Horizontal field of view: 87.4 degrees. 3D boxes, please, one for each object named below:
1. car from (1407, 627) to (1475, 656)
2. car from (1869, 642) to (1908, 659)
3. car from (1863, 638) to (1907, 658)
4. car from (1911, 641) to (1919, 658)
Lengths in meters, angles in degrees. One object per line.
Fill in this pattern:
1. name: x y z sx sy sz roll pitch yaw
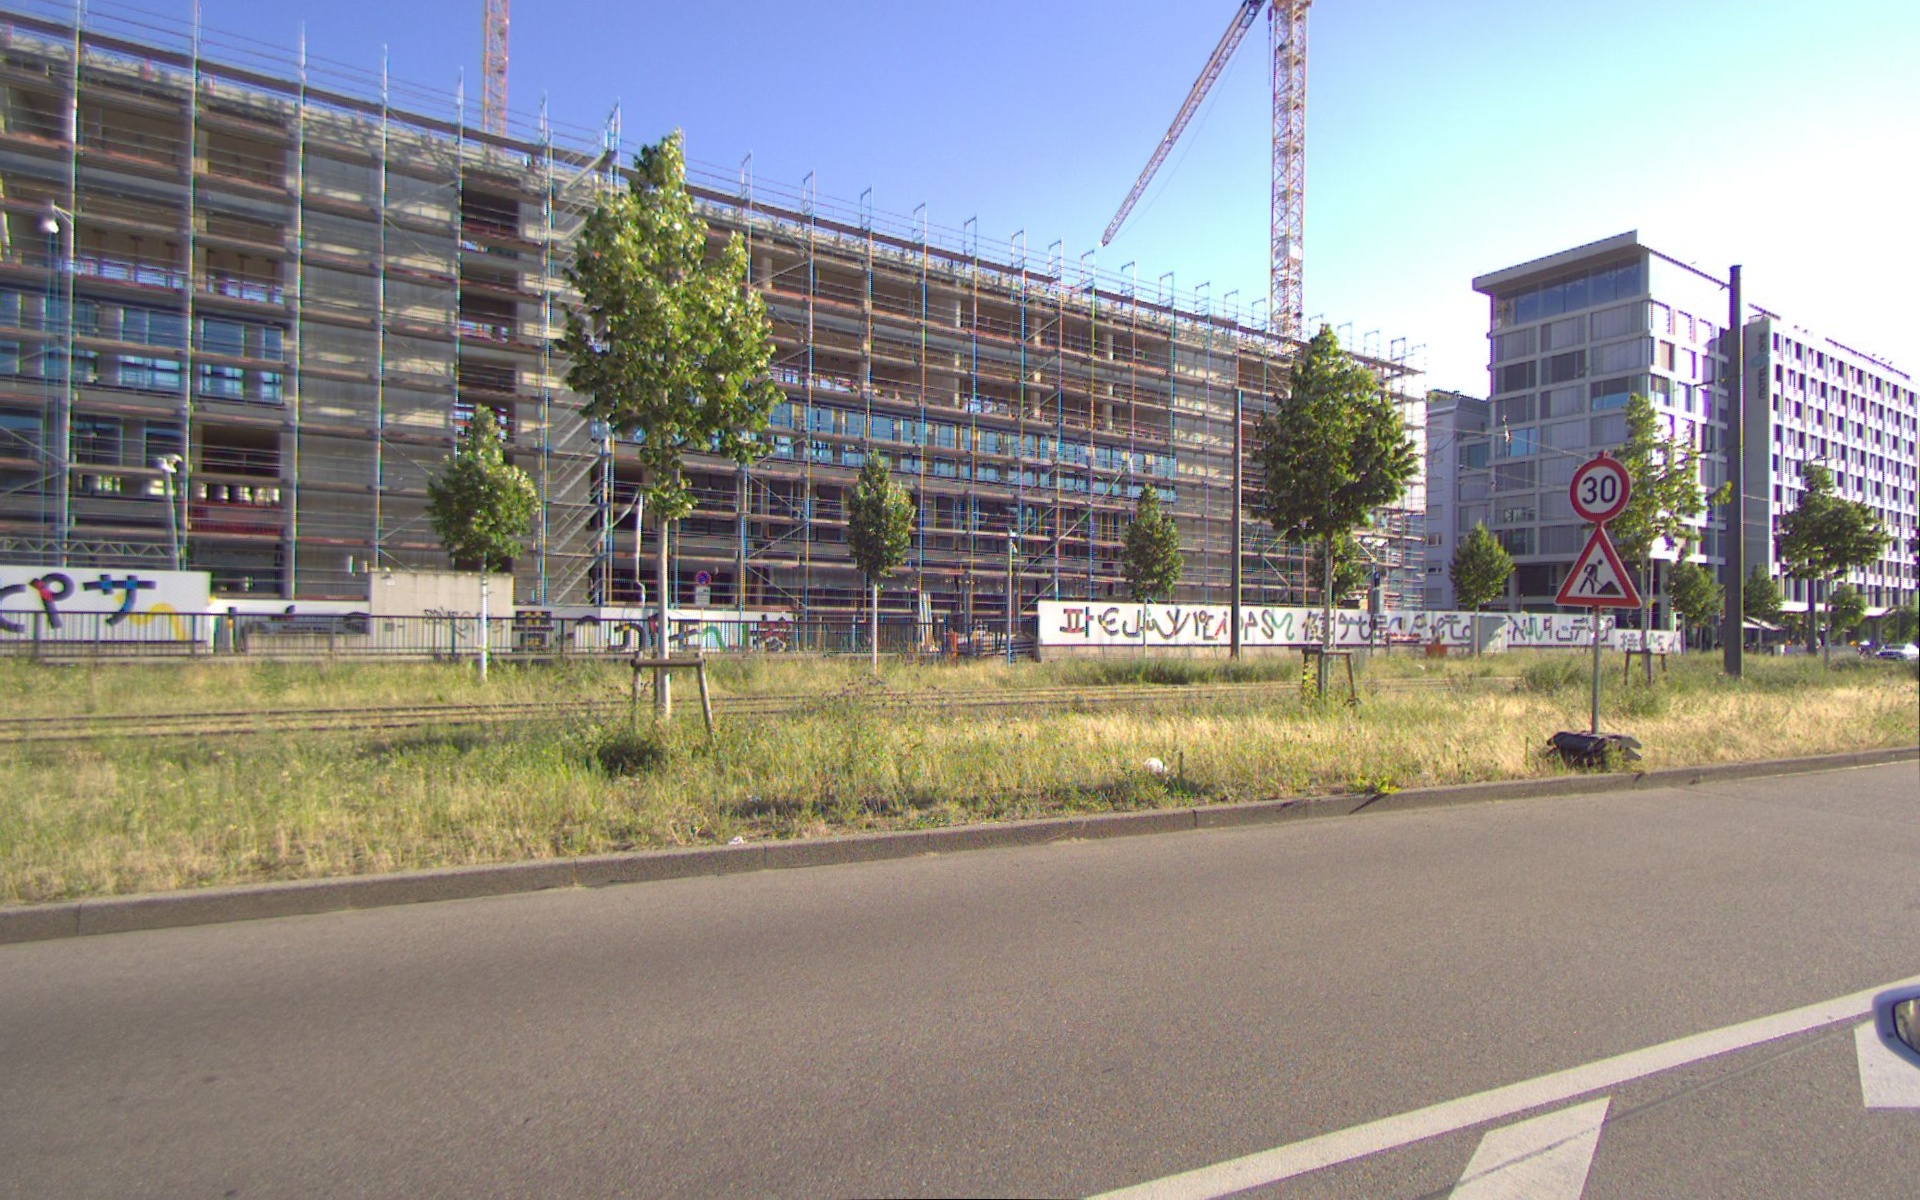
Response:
1. car: 26.101 2.243 54.444 3.543 1.461 1.699 2 0 -32
2. car: 84.039 4.565 90.903 3.543 1.461 1.699 2 0 -32
3. car: 74.052 3.825 80.391 3.543 1.461 1.699 2 0 -32
4. car: 85.229 4.336 88.146 3.543 1.461 1.699 2 0 -32
